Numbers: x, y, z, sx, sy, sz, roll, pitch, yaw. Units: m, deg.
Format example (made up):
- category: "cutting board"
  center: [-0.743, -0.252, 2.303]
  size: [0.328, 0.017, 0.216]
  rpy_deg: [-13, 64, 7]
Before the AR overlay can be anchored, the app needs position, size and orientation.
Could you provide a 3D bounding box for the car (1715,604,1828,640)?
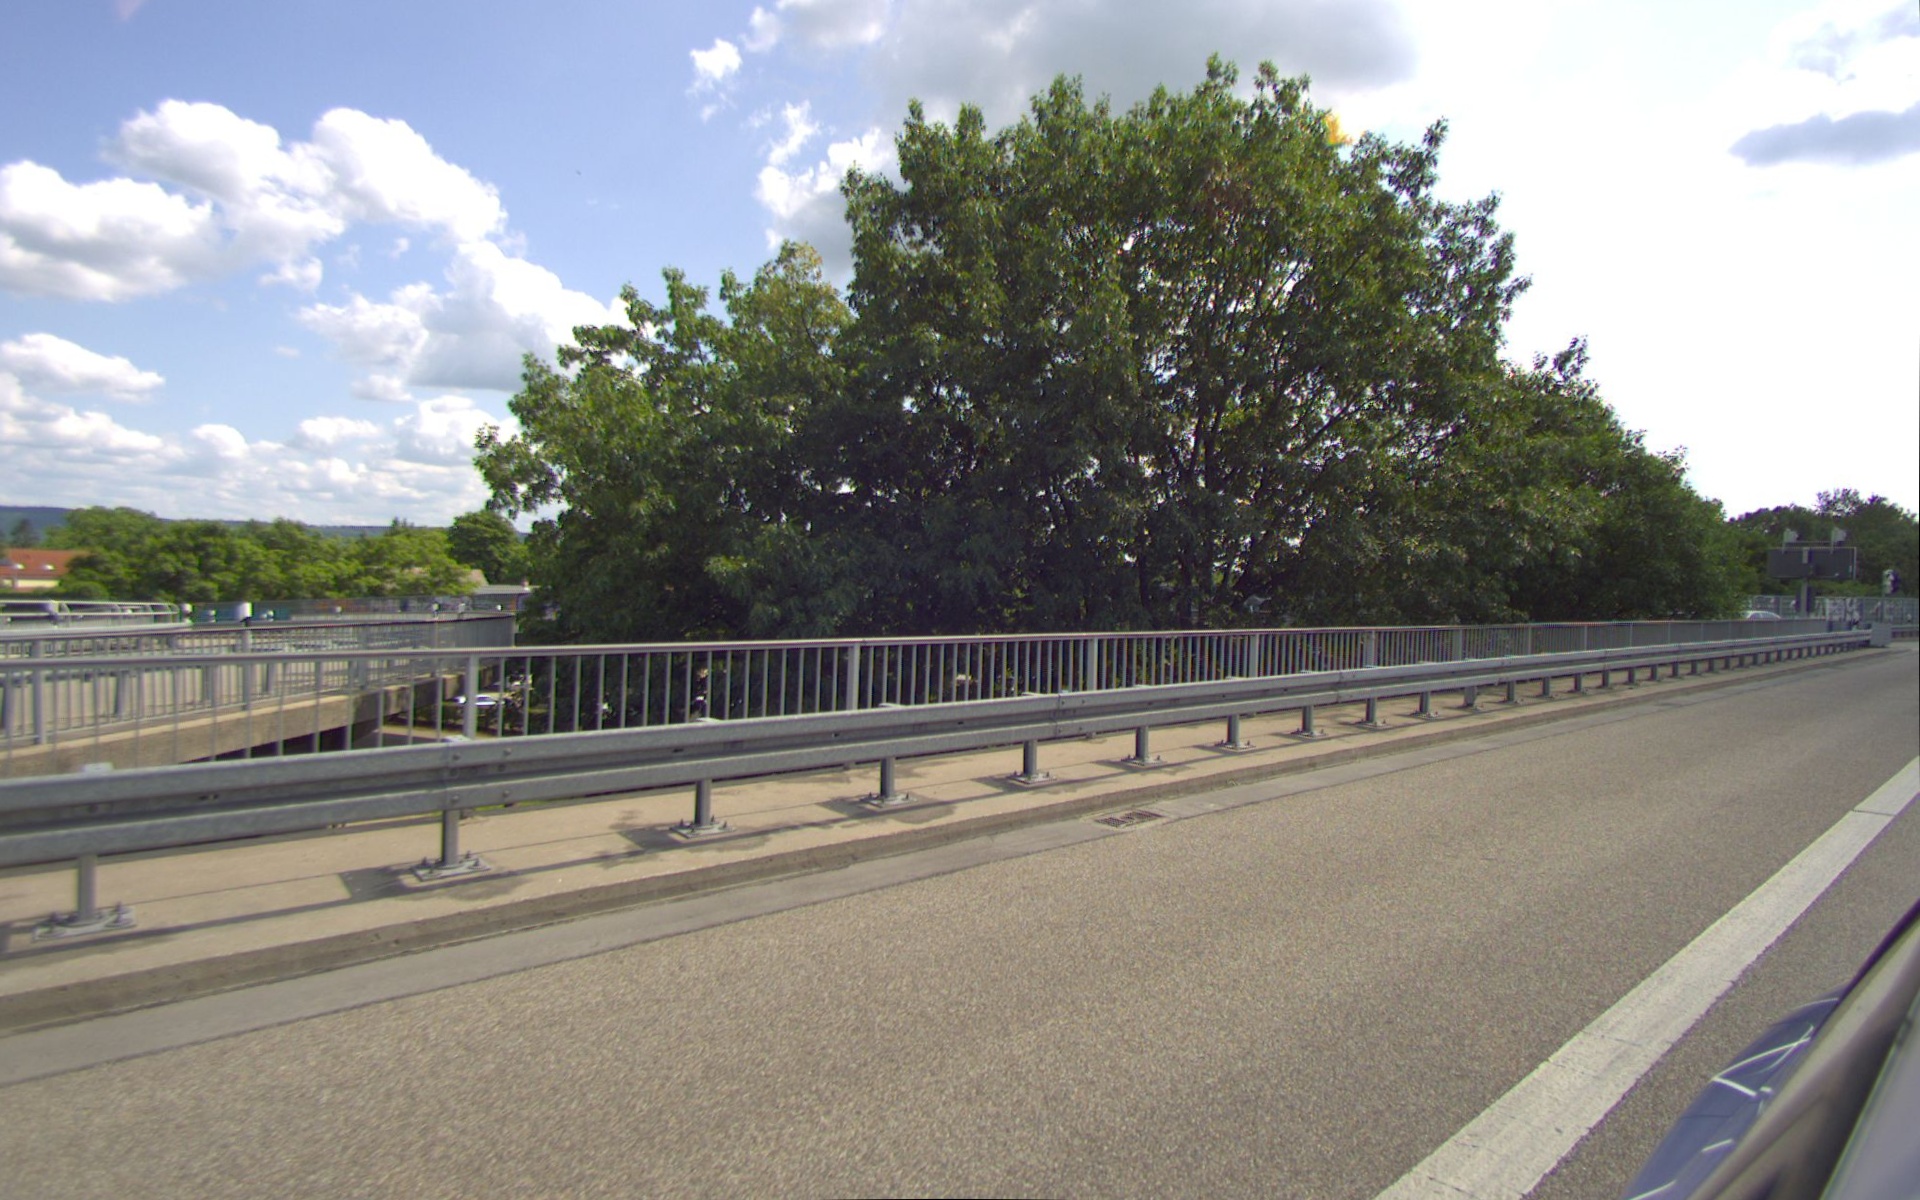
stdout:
- category: "car"
  center: [33.213, 0.870, 41.442]
  size: [3.692, 1.430, 1.773]
  rpy_deg: [0, 0, -15]
